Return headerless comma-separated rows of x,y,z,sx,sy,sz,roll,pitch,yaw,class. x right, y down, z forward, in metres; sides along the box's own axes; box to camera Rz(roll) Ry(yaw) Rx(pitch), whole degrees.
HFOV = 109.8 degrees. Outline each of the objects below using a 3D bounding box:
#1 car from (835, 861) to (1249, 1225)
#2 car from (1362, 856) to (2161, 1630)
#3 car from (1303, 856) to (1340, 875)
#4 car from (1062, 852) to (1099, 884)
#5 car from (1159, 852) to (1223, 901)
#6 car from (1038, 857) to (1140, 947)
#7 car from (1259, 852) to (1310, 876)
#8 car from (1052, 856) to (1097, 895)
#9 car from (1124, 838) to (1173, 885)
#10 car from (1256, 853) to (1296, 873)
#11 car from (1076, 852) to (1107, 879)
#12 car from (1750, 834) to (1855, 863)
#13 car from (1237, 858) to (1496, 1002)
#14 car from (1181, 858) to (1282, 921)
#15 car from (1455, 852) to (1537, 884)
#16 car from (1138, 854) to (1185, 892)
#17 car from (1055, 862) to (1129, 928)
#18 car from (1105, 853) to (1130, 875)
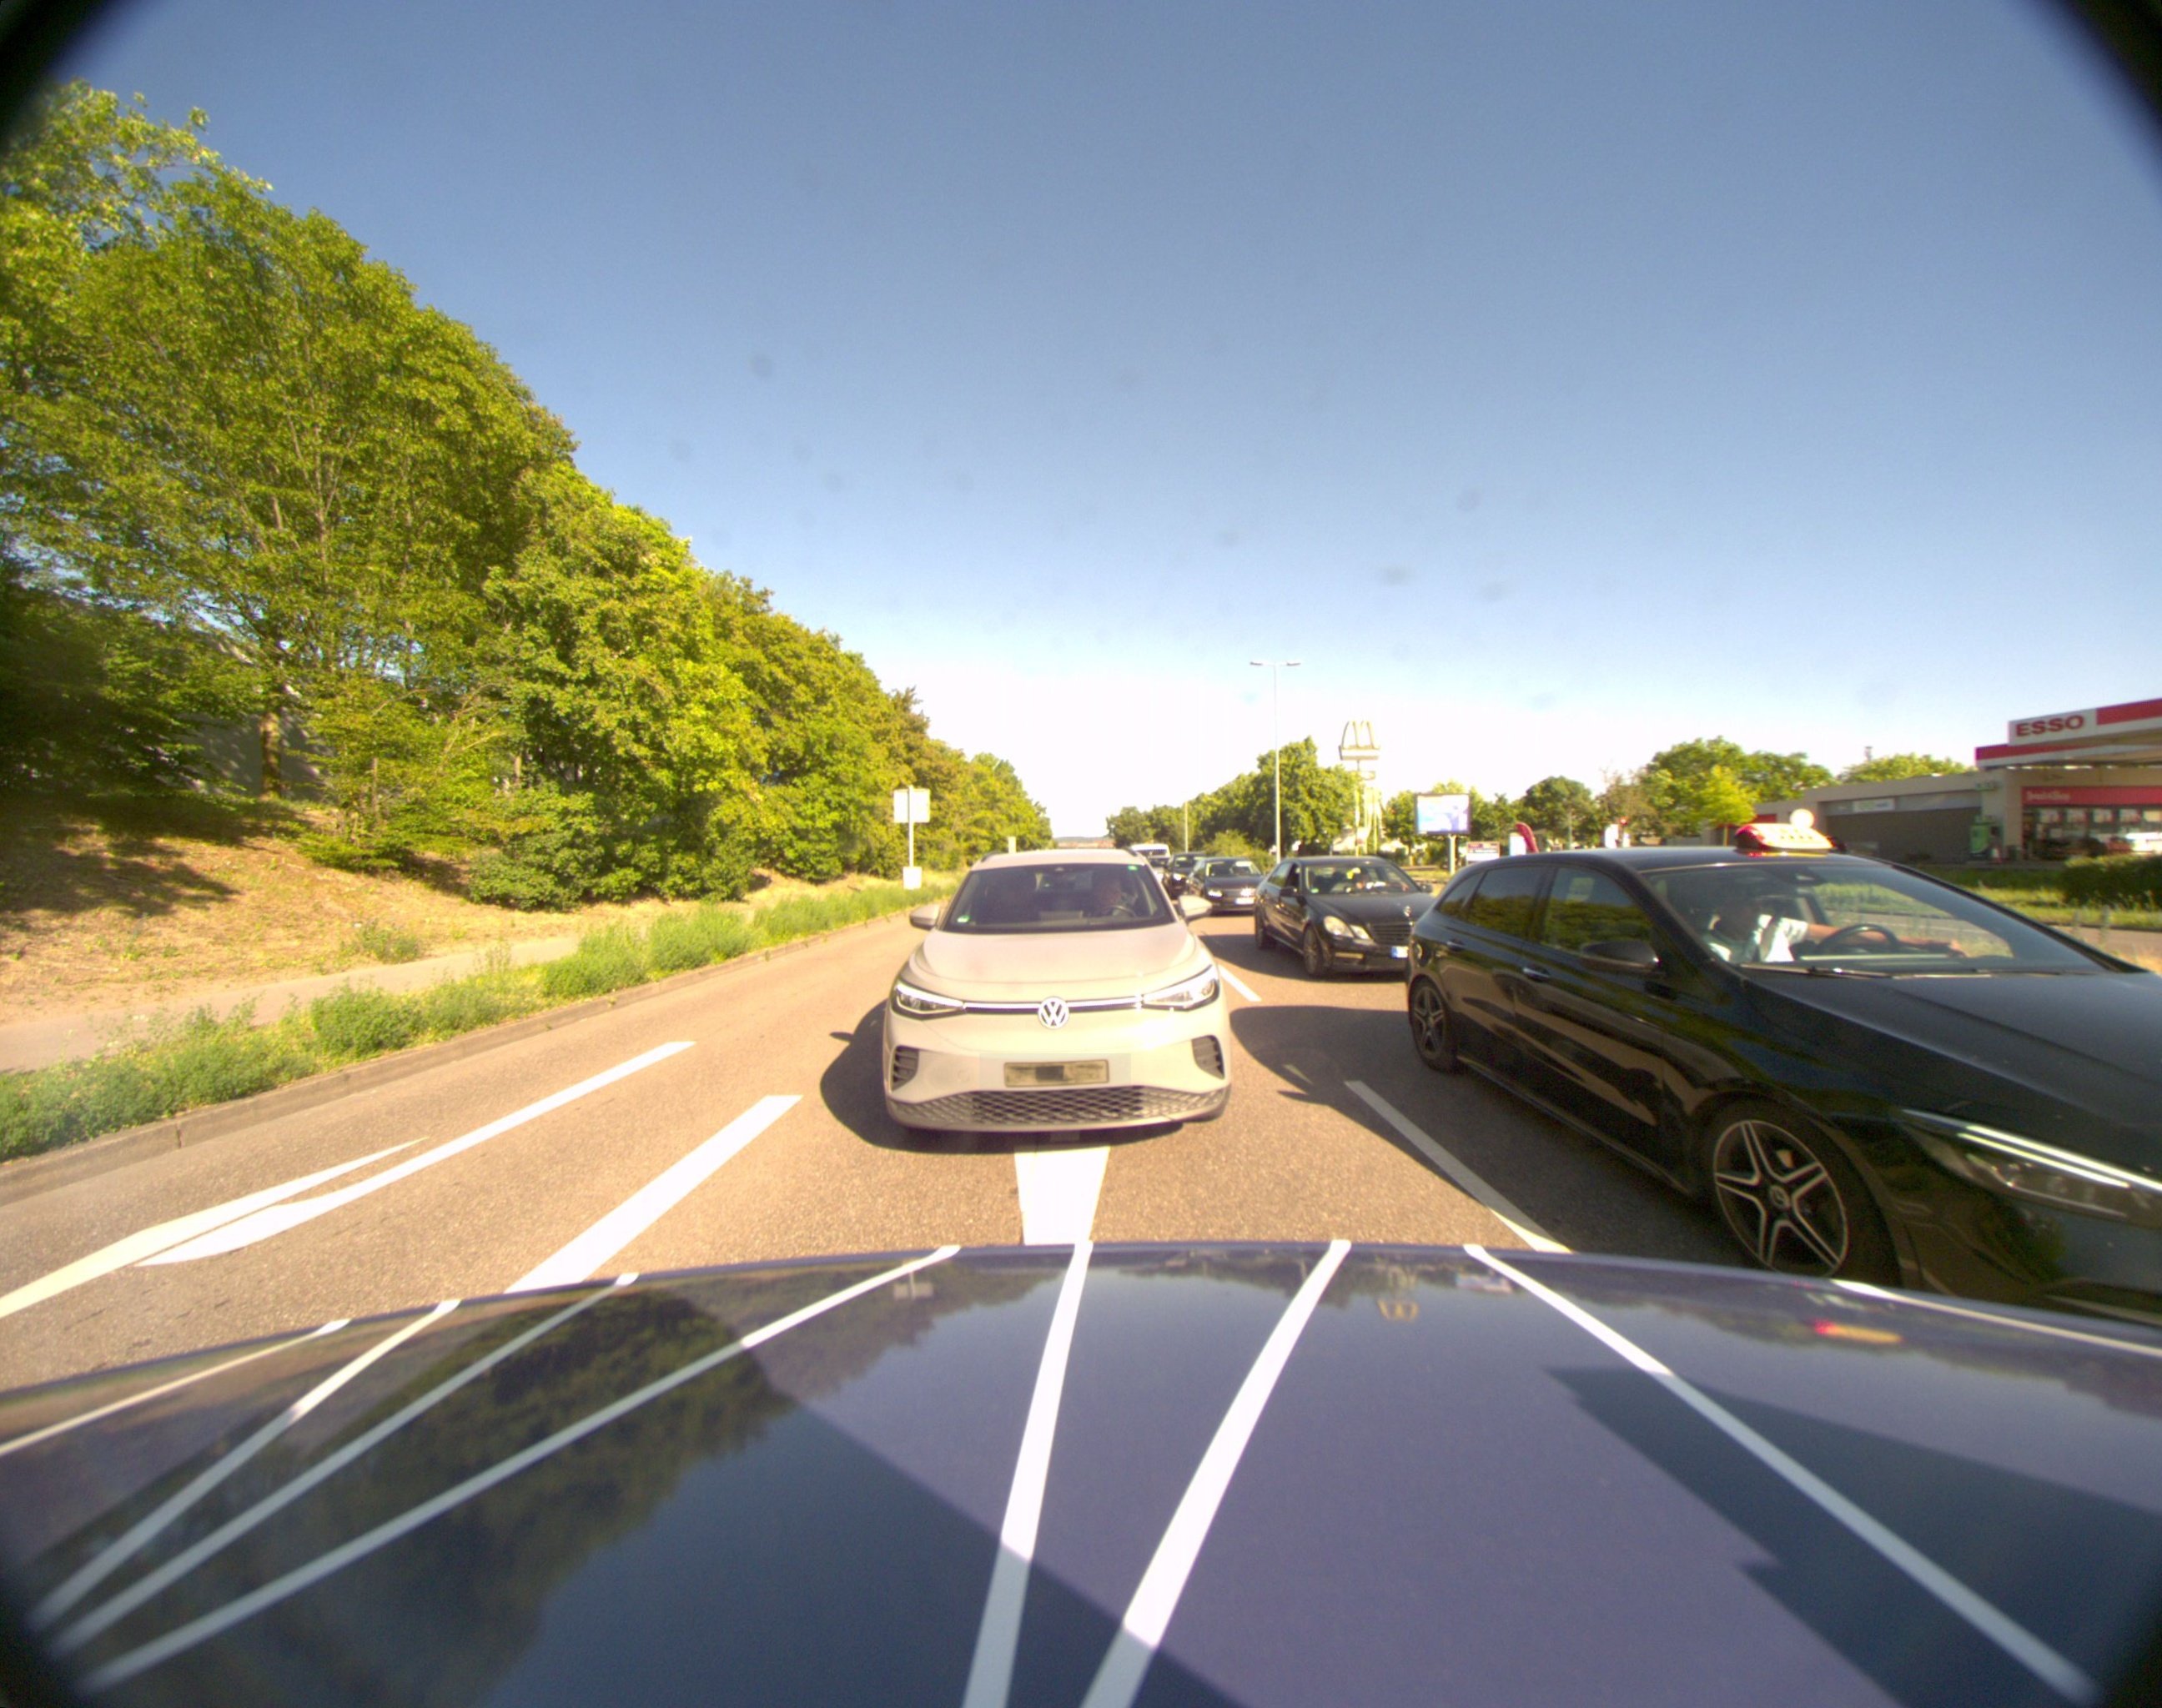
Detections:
-0.184,0.897,5.730,1.862,1.573,4.403,-2,0,0,car
3.088,0.815,3.681,1.763,1.482,4.402,-2,1,0,car
20.056,0.935,63.507,1.763,1.401,3.978,1,1,0,car
-0.048,0.709,39.882,1.763,1.482,4.402,-2,1,0,car
3.901,0.753,27.503,1.674,1.607,3.879,-2,0,0,car
0.132,0.869,15.787,1.763,1.482,4.402,-2,1,0,car
13.155,0.617,49.368,1.733,1.401,4.303,1,1,-5,car
-0.262,0.878,33.061,1.763,1.482,4.402,-2,1,0,car
3.647,0.381,42.088,2.019,2.349,6.523,-2,0,0,car
16.145,0.750,63.185,1.764,1.482,4.878,2,1,-3,car
0.598,0.686,47.049,1.763,1.482,4.402,-2,1,0,car
37.636,-0.272,39.791,1.682,1.401,3.978,1,1,0,car
3.586,0.848,10.527,1.868,1.430,4.402,-2,1,0,car
3.869,0.857,20.244,1.797,1.419,4.287,-2,0,0,car
19.923,0.635,36.671,1.763,1.401,3.978,1,1,0,car
3.569,0.787,34.193,1.635,1.547,3.777,-2,0,0,car
0.261,1.036,20.955,1.763,1.482,4.402,-2,1,0,car
2.925,0.811,62.142,1.763,1.607,4.402,-2,1,0,car
